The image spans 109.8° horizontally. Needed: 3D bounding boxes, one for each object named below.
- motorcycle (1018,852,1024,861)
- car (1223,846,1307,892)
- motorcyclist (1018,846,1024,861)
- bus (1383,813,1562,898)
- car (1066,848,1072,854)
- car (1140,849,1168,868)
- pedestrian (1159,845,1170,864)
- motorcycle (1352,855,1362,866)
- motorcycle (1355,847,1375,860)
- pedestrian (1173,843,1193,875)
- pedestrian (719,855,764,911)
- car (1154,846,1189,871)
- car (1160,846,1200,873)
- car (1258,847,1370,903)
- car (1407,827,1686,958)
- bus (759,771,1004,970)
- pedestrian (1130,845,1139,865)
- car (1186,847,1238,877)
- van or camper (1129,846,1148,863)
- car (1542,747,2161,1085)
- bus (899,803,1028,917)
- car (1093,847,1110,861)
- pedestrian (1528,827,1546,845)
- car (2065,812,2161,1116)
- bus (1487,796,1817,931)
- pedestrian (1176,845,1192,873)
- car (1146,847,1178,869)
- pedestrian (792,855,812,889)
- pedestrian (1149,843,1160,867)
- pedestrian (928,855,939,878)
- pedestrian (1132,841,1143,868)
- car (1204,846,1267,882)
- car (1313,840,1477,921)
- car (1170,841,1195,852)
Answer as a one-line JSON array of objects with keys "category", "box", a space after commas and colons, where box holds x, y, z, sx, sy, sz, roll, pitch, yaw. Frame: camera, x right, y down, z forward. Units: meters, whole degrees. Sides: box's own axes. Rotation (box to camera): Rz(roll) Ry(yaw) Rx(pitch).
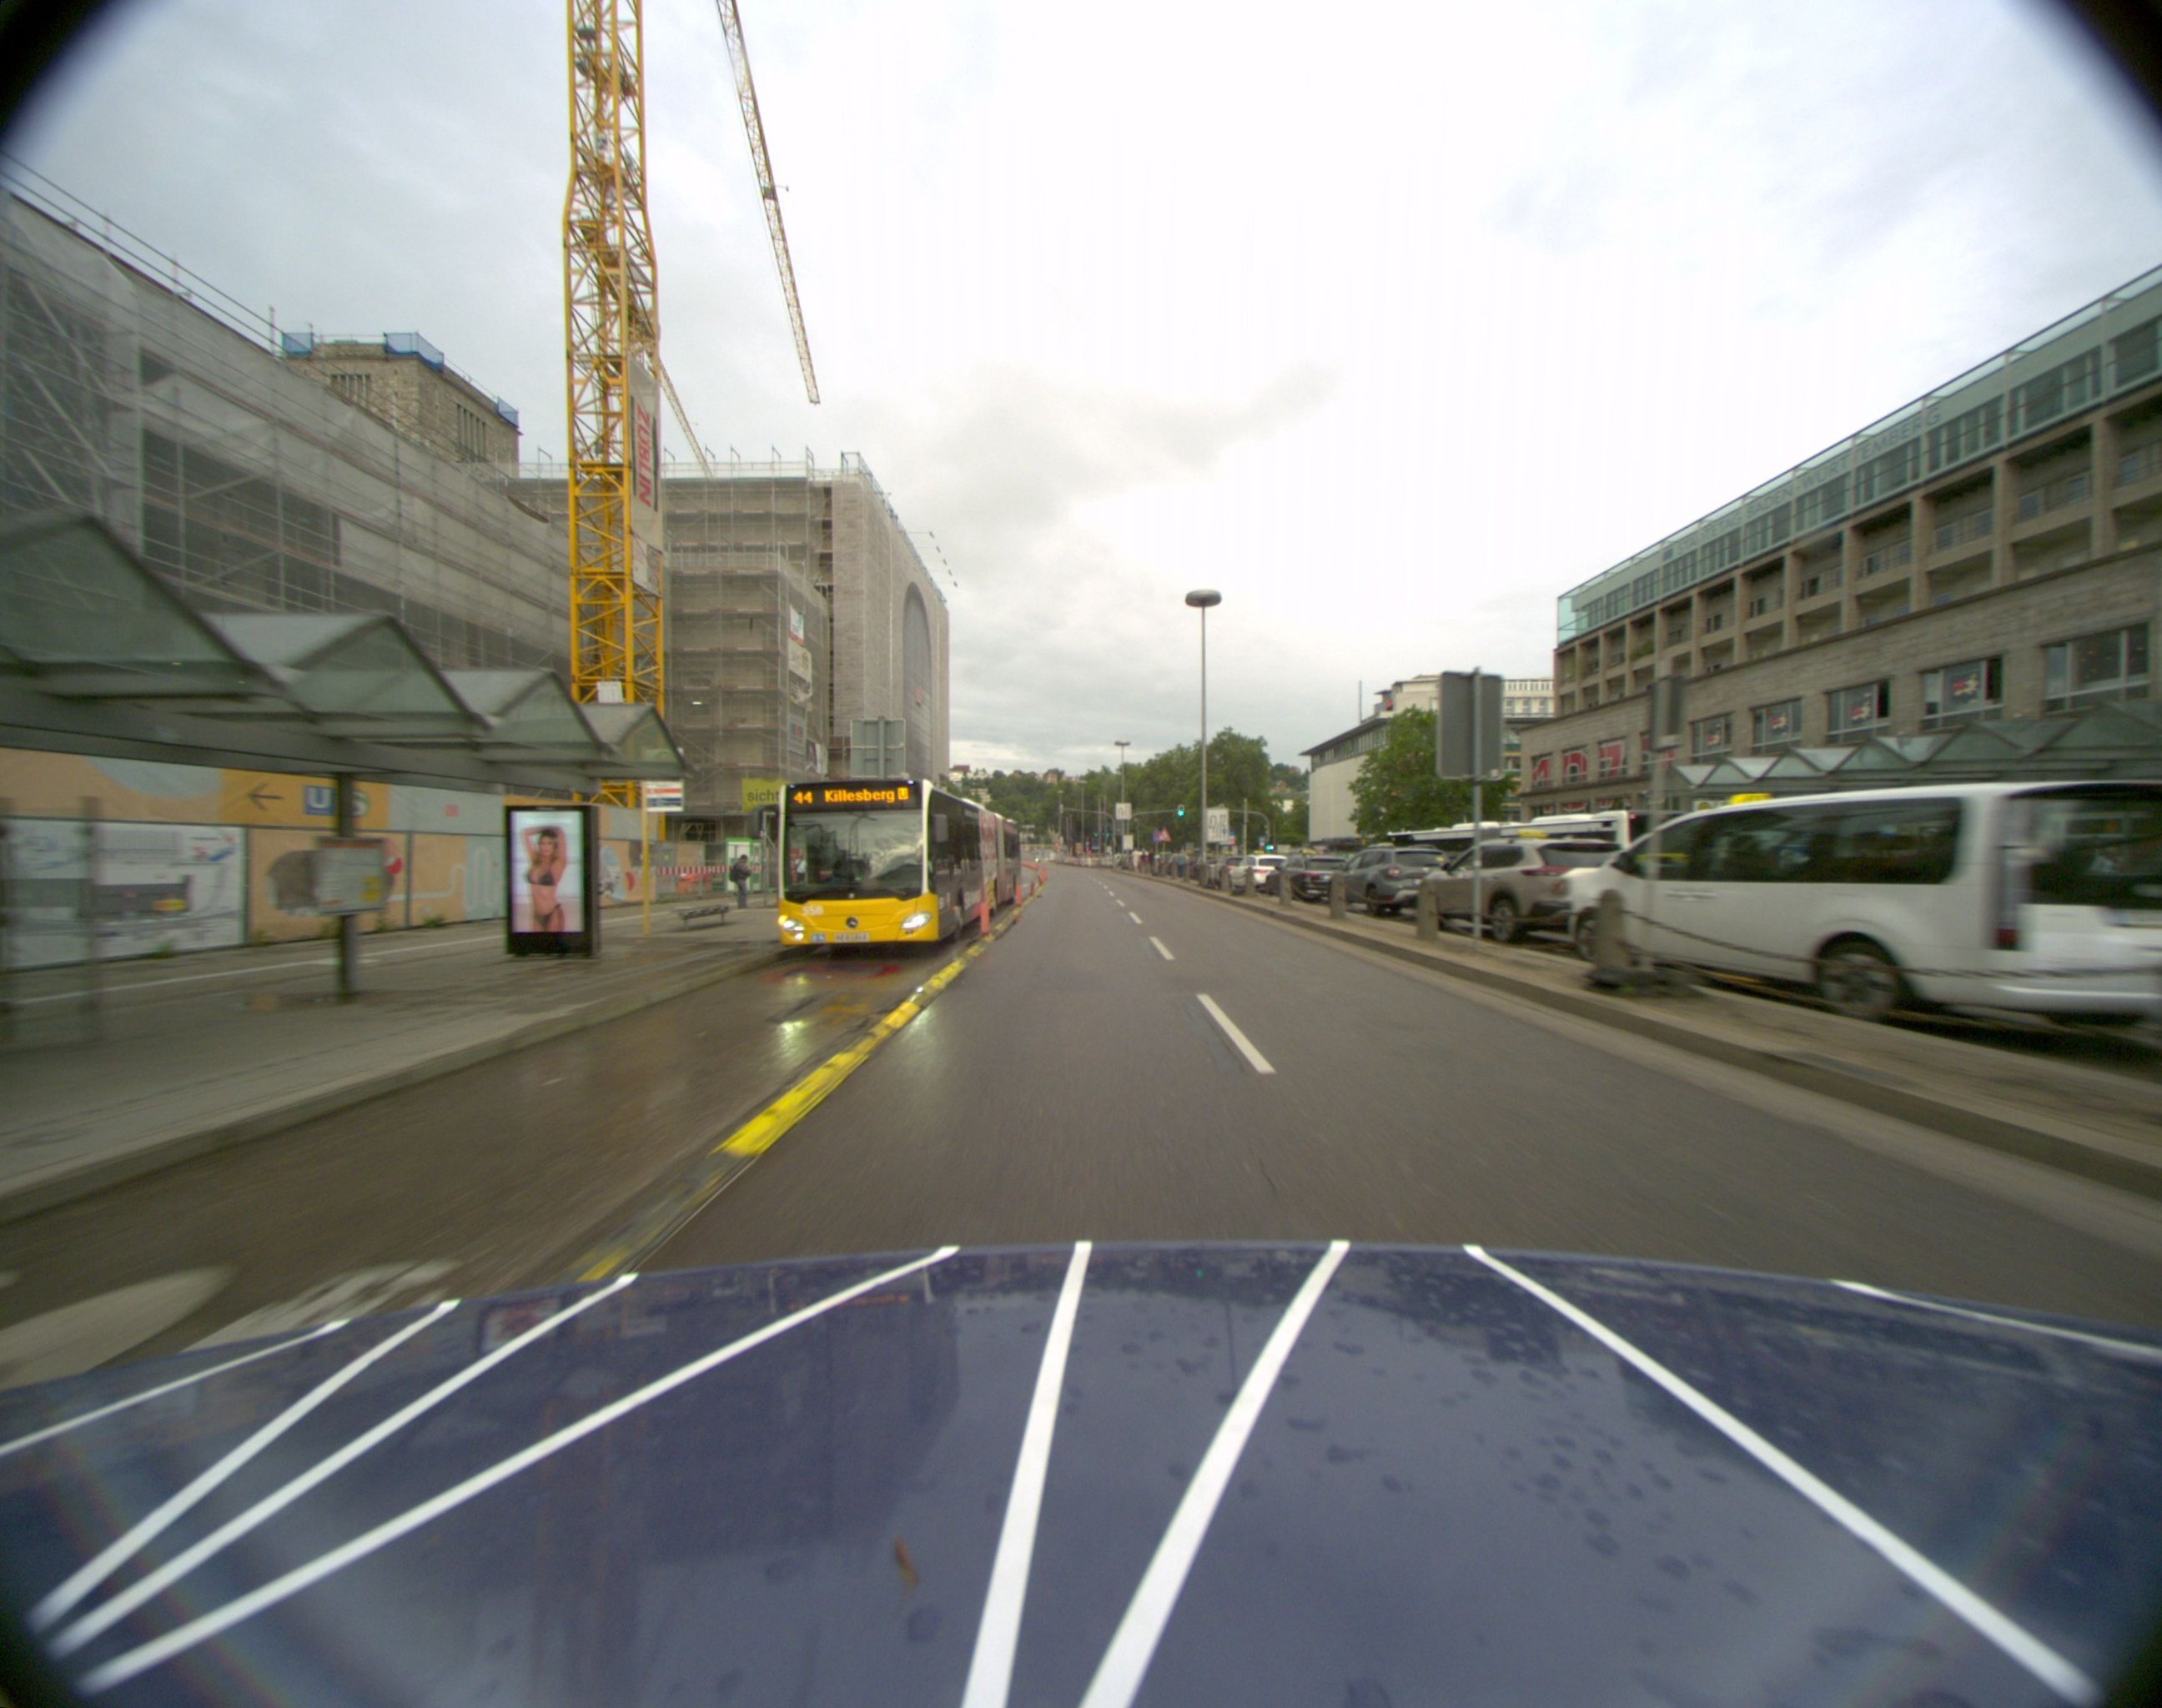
[{"category": "motorcycle", "box": [-8.323, 0.389, 105.274, 0.730, 1.221, 2.160, 0, -1, -7]}, {"category": "car", "box": [7.235, 0.516, 30.417, 1.981, 1.650, 5.191, 1, 1, -1]}, {"category": "motorcyclist", "box": [-8.330, -0.023, 105.342, 0.726, 2.024, 0.587, 0, 0, -7]}, {"category": "bus", "box": [17.596, 0.024, 35.369, 2.884, 3.357, 10.573, 0, 0, 0]}, {"category": "car", "box": [-3.068, -0.749, 195.974, 1.682, 1.533, 3.174, 0, -1, 0]}, {"category": "car", "box": [6.419, 0.409, 67.135, 2.020, 1.611, 4.841, -1, 0, 0]}, {"category": "pedestrian", "box": [7.487, 0.044, 68.461, 0.784, 1.765, 0.606, 2, 1, -12]}, {"category": "motorcycle", "box": [25.252, 0.589, 69.502, 0.477, 1.040, 1.624, -2, 0, 5]}, {"category": "motorcycle", "box": [24.073, -0.006, 64.424, 1.443, 1.051, 0.602, -2, 0, -11]}, {"category": "pedestrian", "box": [5.705, 0.270, 42.507, 1.053, 1.758, 0.616, -1, 1, -1]}, {"category": "pedestrian", "box": [-10.231, 0.865, 22.926, 0.907, 1.626, 0.829, 0, 1, 27]}, {"category": "car", "box": [6.515, 0.271, 55.266, 1.935, 1.681, 4.681, 1, 1, -1]}, {"category": "car", "box": [6.475, 0.335, 50.100, 1.935, 1.681, 4.681, 1, 1, -1]}, {"category": "car", "box": [7.366, 0.585, 24.630, 1.935, 1.567, 5.051, 1, 1, -1]}, {"category": "car", "box": [7.511, 0.515, 12.948, 1.934, 1.796, 4.582, 1, 1, 1]}, {"category": "bus", "box": [-3.577, 0.206, 16.395, 2.762, 3.048, 8.991, -2, 1, 0]}, {"category": "pedestrian", "box": [4.712, 0.109, 66.916, 0.653, 1.701, 0.593, -2, 0, -2]}, {"category": "car", "box": [7.338, 0.400, 43.066, 1.935, 1.567, 5.259, 1, 1, -1]}, {"category": "van or camper", "box": [9.264, 0.045, 122.623, 2.000, 2.499, 5.366, 2, 0, -7]}, {"category": "car", "box": [7.279, 0.387, 7.640, 1.998, 2.166, 5.544, 0, 0, 1]}, {"category": "bus", "box": [-3.535, 0.115, 25.451, 2.762, 3.051, 9.078, -2, 1, 0]}, {"category": "car", "box": [2.764, 0.024, 105.306, 1.999, 1.806, 4.809, 0, 0, -3]}, {"category": "pedestrian", "box": [27.708, -1.100, 46.189, 0.630, 1.103, 0.696, -2, 1, -13]}, {"category": "car", "box": [7.030, 0.624, 2.280, 1.998, 1.712, 4.782, 0, 0, 1]}, {"category": "bus", "box": [17.589, 0.218, 24.926, 2.884, 3.439, 10.573, -1, 0, 0]}, {"category": "pedestrian", "box": [5.939, 0.271, 43.885, 0.724, 1.597, 0.996, -2, 0, -1]}, {"category": "car", "box": [6.491, 0.309, 61.222, 1.935, 1.681, 4.681, 1, 1, -1]}, {"category": "pedestrian", "box": [-13.568, 0.849, 36.955, 0.695, 1.626, 0.614, 0, 1, 38]}, {"category": "pedestrian", "box": [5.449, 0.088, 56.463, 0.700, 1.744, 0.711, -1, 1, 0]}, {"category": "pedestrian", "box": [-10.430, 0.861, 53.708, 0.550, 1.623, 0.995, 2, 1, 0]}, {"category": "pedestrian", "box": [4.228, 0.040, 57.068, 0.725, 1.996, 0.772, -2, 1, 0]}, {"category": "car", "box": [7.332, 0.434, 36.567, 1.935, 1.567, 5.011, 1, 1, -1]}, {"category": "car", "box": [7.415, 0.529, 18.570, 1.934, 1.689, 4.884, 1, 1, 0]}, {"category": "car", "box": [20.581, -1.550, 154.477, 4.830, 2.002, 2.036, -2, 0, 2]}]
